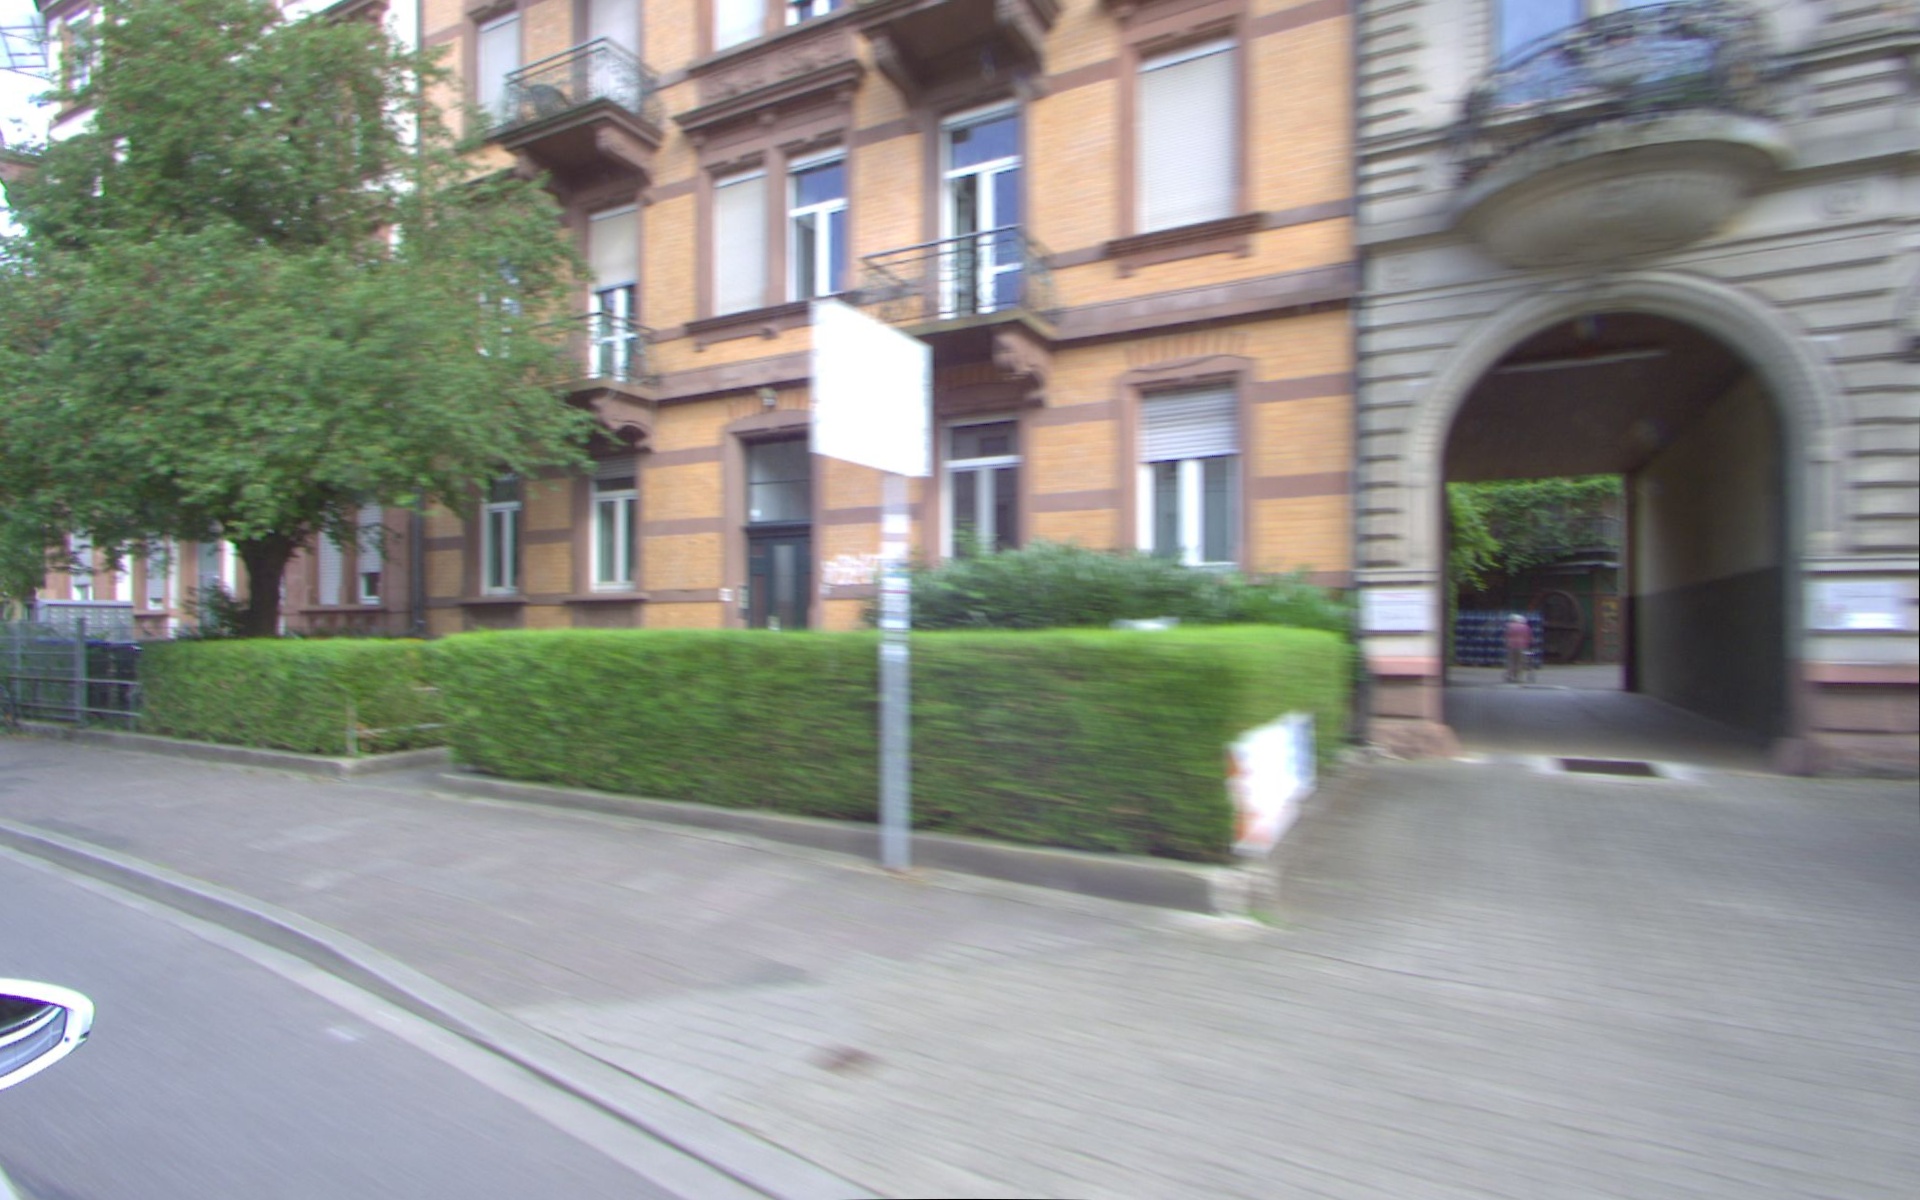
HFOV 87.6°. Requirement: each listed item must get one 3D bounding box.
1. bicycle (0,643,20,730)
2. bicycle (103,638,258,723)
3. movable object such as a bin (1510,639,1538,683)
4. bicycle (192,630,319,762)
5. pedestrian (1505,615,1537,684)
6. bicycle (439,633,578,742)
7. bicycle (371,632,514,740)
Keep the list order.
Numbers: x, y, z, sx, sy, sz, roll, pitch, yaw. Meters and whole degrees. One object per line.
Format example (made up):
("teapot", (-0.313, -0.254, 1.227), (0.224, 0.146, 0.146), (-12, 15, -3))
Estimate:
("bicycle", (-13.133, 1.139, 13.252), (1.526, 1.103, 0.508), (0, 3, 29))
("bicycle", (-10.197, 1.026, 13.156), (0.502, 1.022, 1.545), (0, -1, 26))
("movable object such as a bin", (12.867, 1.386, 22.839), (0.491, 0.966, 0.523), (0, 0, 37))
("bicycle", (-7.479, 0.975, 10.617), (1.527, 1.298, 0.515), (0, 0, 31))
("pedestrian", (12.617, 1.098, 22.515), (0.558, 1.507, 0.591), (0, 0, 37))
("bicycle", (-5.330, 0.996, 11.911), (0.509, 1.196, 1.545), (0, -1, 26))
("bicycle", (-6.242, 1.003, 12.156), (0.509, 1.196, 1.545), (0, -1, 26))
